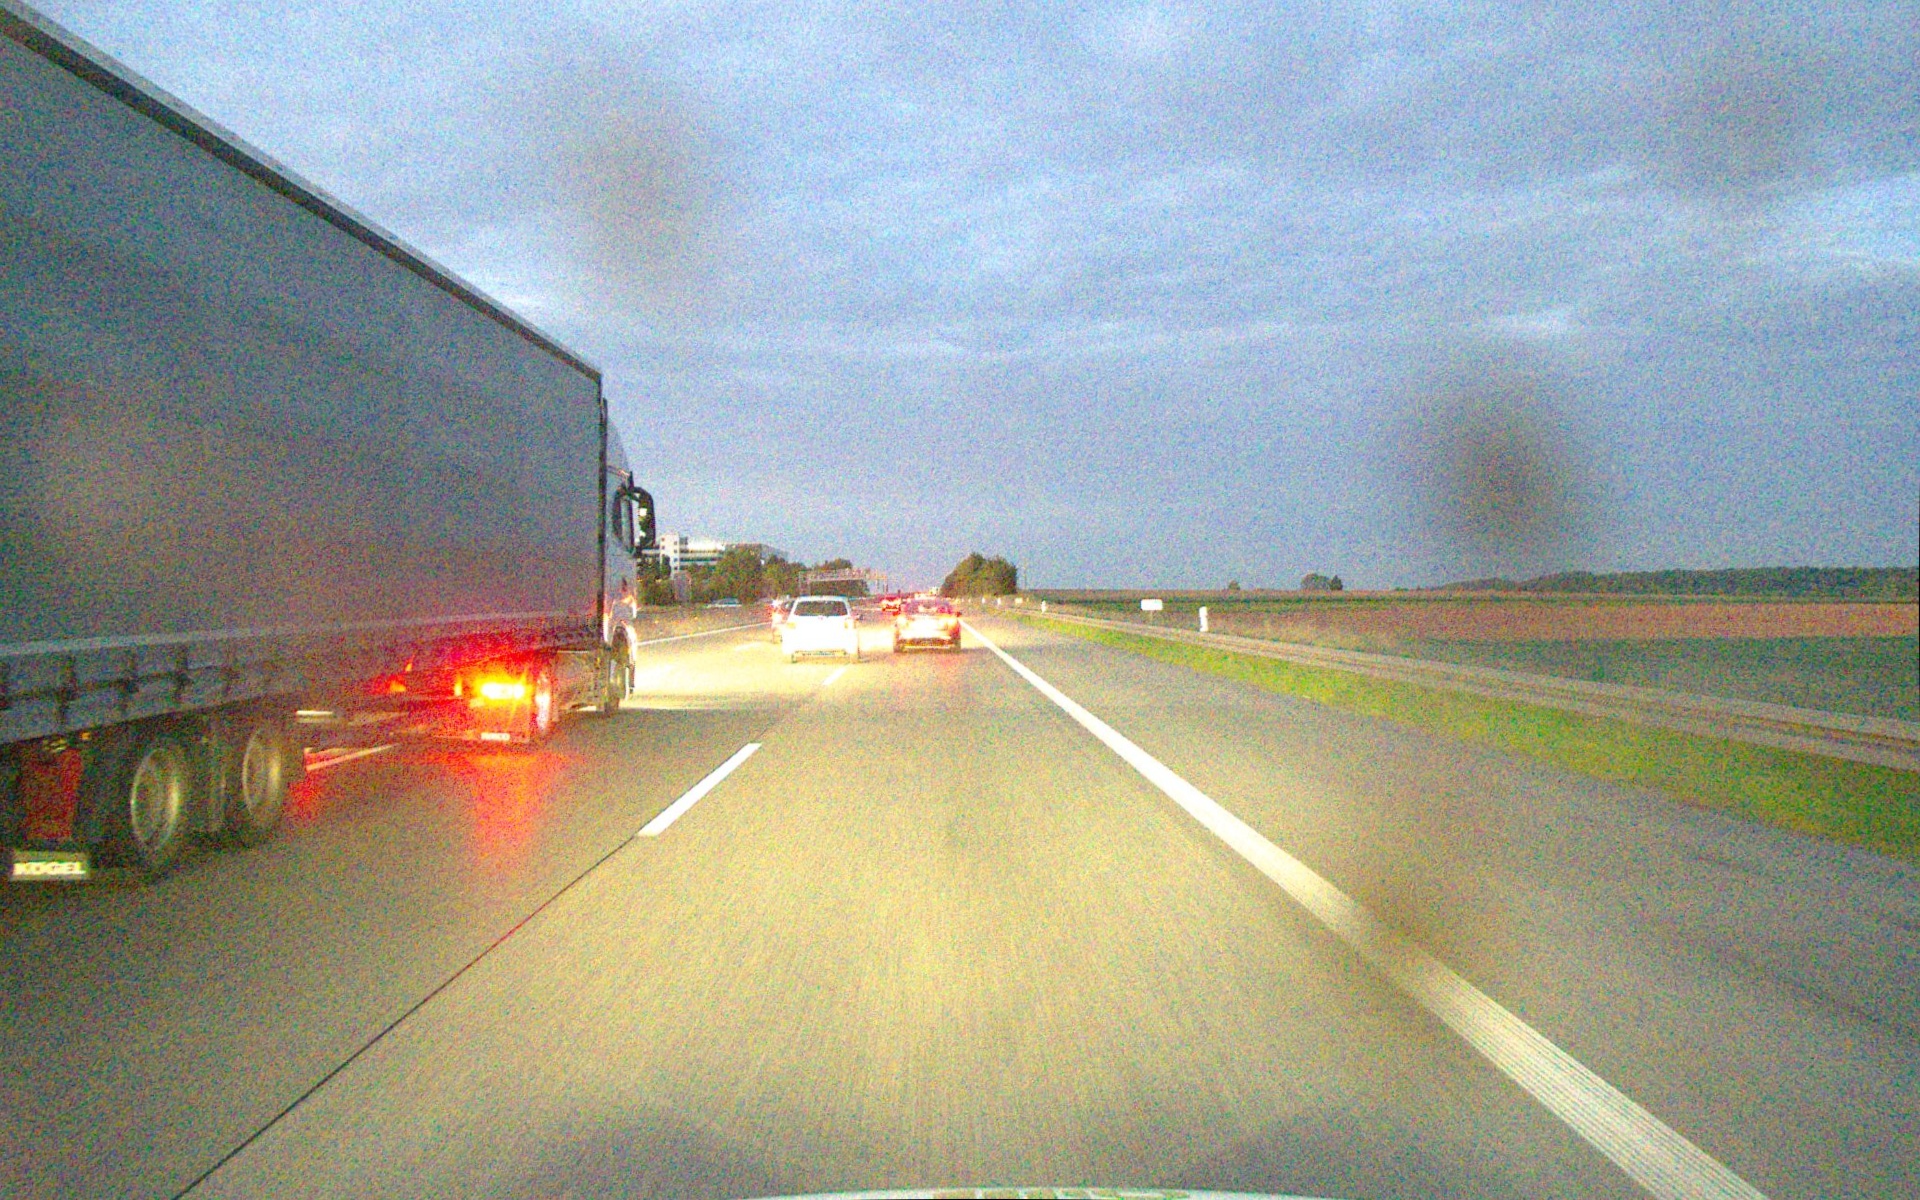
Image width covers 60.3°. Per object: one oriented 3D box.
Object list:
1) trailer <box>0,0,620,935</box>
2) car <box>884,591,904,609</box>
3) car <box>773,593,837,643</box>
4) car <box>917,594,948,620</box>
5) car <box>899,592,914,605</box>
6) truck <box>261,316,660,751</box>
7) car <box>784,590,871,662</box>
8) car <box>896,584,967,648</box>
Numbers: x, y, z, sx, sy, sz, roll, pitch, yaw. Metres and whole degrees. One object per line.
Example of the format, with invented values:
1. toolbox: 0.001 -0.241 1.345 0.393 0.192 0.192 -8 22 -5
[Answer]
1. trailer: -5.324 -0.664 12.087 2.737 4.157 14.523 0 0 0
2. car: -6.235 0.011 157.592 1.842 1.579 3.998 1 0 -2
3. car: -4.864 0.564 52.517 1.688 1.497 4.724 1 0 -1
4. car: -1.744 0.440 103.219 1.842 1.579 3.998 1 0 -2
5. car: -7.814 -0.179 241.775 2.154 1.912 3.999 1 0 -1
6. truck: -5.349 -0.627 18.927 2.721 4.164 6.102 0 0 0
7. car: -3.030 0.577 38.568 1.709 1.551 4.413 1 0 -1
8. car: -0.796 0.427 45.986 1.842 1.672 3.999 1 0 -1
